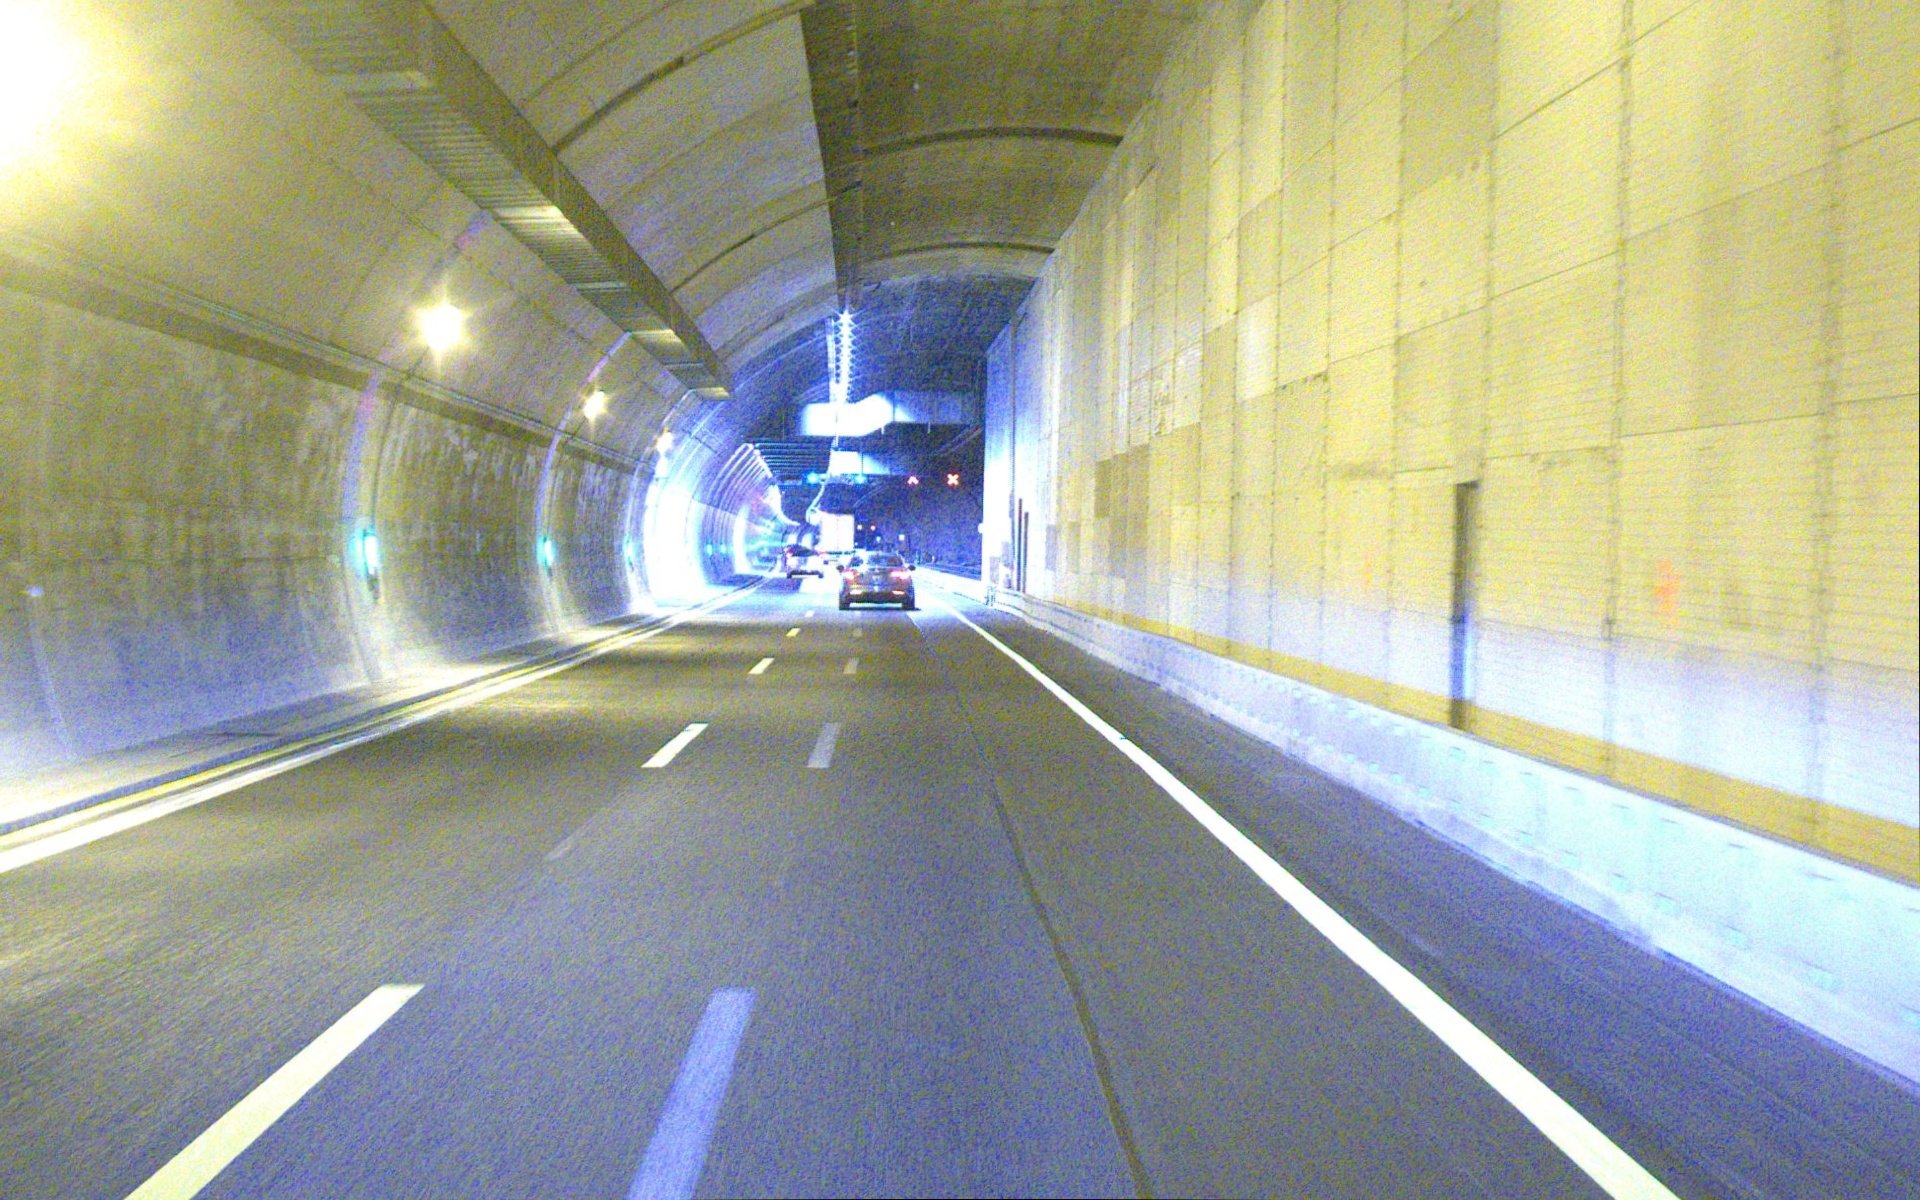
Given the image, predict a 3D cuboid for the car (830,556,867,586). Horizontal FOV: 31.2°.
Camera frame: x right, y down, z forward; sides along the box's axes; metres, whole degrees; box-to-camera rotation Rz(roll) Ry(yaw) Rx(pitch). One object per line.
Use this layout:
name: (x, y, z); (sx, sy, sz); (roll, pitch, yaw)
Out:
car: (-6.284, -1.645, 194.085); (1.930, 1.681, 4.000); (0, 1, 0)

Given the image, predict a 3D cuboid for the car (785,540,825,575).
car: (-7.554, -2.069, 167.477); (1.930, 1.681, 4.001); (0, 1, -2)

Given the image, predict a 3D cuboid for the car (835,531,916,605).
car: (-2.096, -0.809, 85.530); (1.947, 1.788, 4.000); (0, 1, -1)
